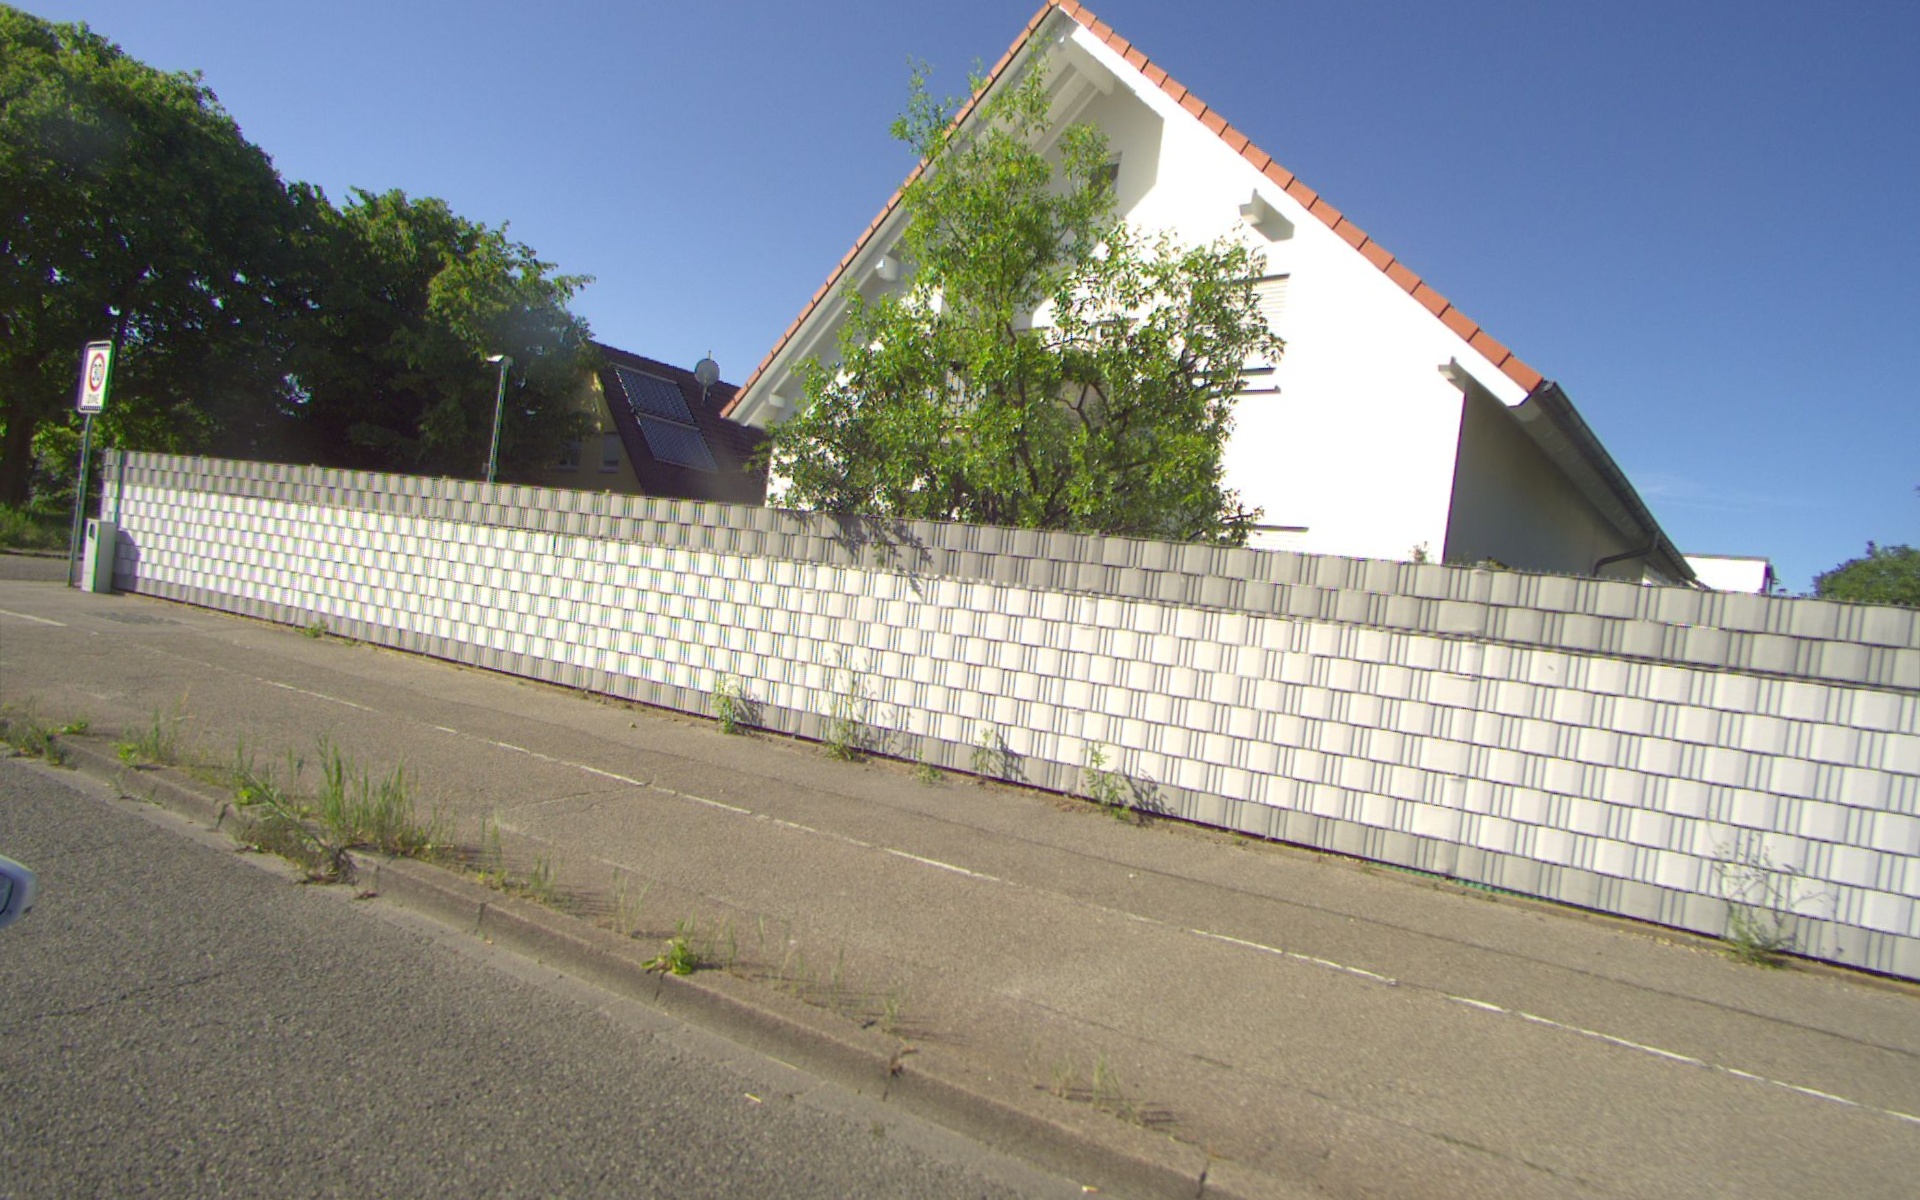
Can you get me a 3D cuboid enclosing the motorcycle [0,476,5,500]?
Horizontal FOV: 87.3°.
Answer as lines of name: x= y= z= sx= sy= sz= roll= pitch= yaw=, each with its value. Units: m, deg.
motorcycle: x=-53.699 y=-6.315 z=54.477 sx=0.823 sy=1.285 sz=2.721 roll=7 pitch=-2 yaw=44
